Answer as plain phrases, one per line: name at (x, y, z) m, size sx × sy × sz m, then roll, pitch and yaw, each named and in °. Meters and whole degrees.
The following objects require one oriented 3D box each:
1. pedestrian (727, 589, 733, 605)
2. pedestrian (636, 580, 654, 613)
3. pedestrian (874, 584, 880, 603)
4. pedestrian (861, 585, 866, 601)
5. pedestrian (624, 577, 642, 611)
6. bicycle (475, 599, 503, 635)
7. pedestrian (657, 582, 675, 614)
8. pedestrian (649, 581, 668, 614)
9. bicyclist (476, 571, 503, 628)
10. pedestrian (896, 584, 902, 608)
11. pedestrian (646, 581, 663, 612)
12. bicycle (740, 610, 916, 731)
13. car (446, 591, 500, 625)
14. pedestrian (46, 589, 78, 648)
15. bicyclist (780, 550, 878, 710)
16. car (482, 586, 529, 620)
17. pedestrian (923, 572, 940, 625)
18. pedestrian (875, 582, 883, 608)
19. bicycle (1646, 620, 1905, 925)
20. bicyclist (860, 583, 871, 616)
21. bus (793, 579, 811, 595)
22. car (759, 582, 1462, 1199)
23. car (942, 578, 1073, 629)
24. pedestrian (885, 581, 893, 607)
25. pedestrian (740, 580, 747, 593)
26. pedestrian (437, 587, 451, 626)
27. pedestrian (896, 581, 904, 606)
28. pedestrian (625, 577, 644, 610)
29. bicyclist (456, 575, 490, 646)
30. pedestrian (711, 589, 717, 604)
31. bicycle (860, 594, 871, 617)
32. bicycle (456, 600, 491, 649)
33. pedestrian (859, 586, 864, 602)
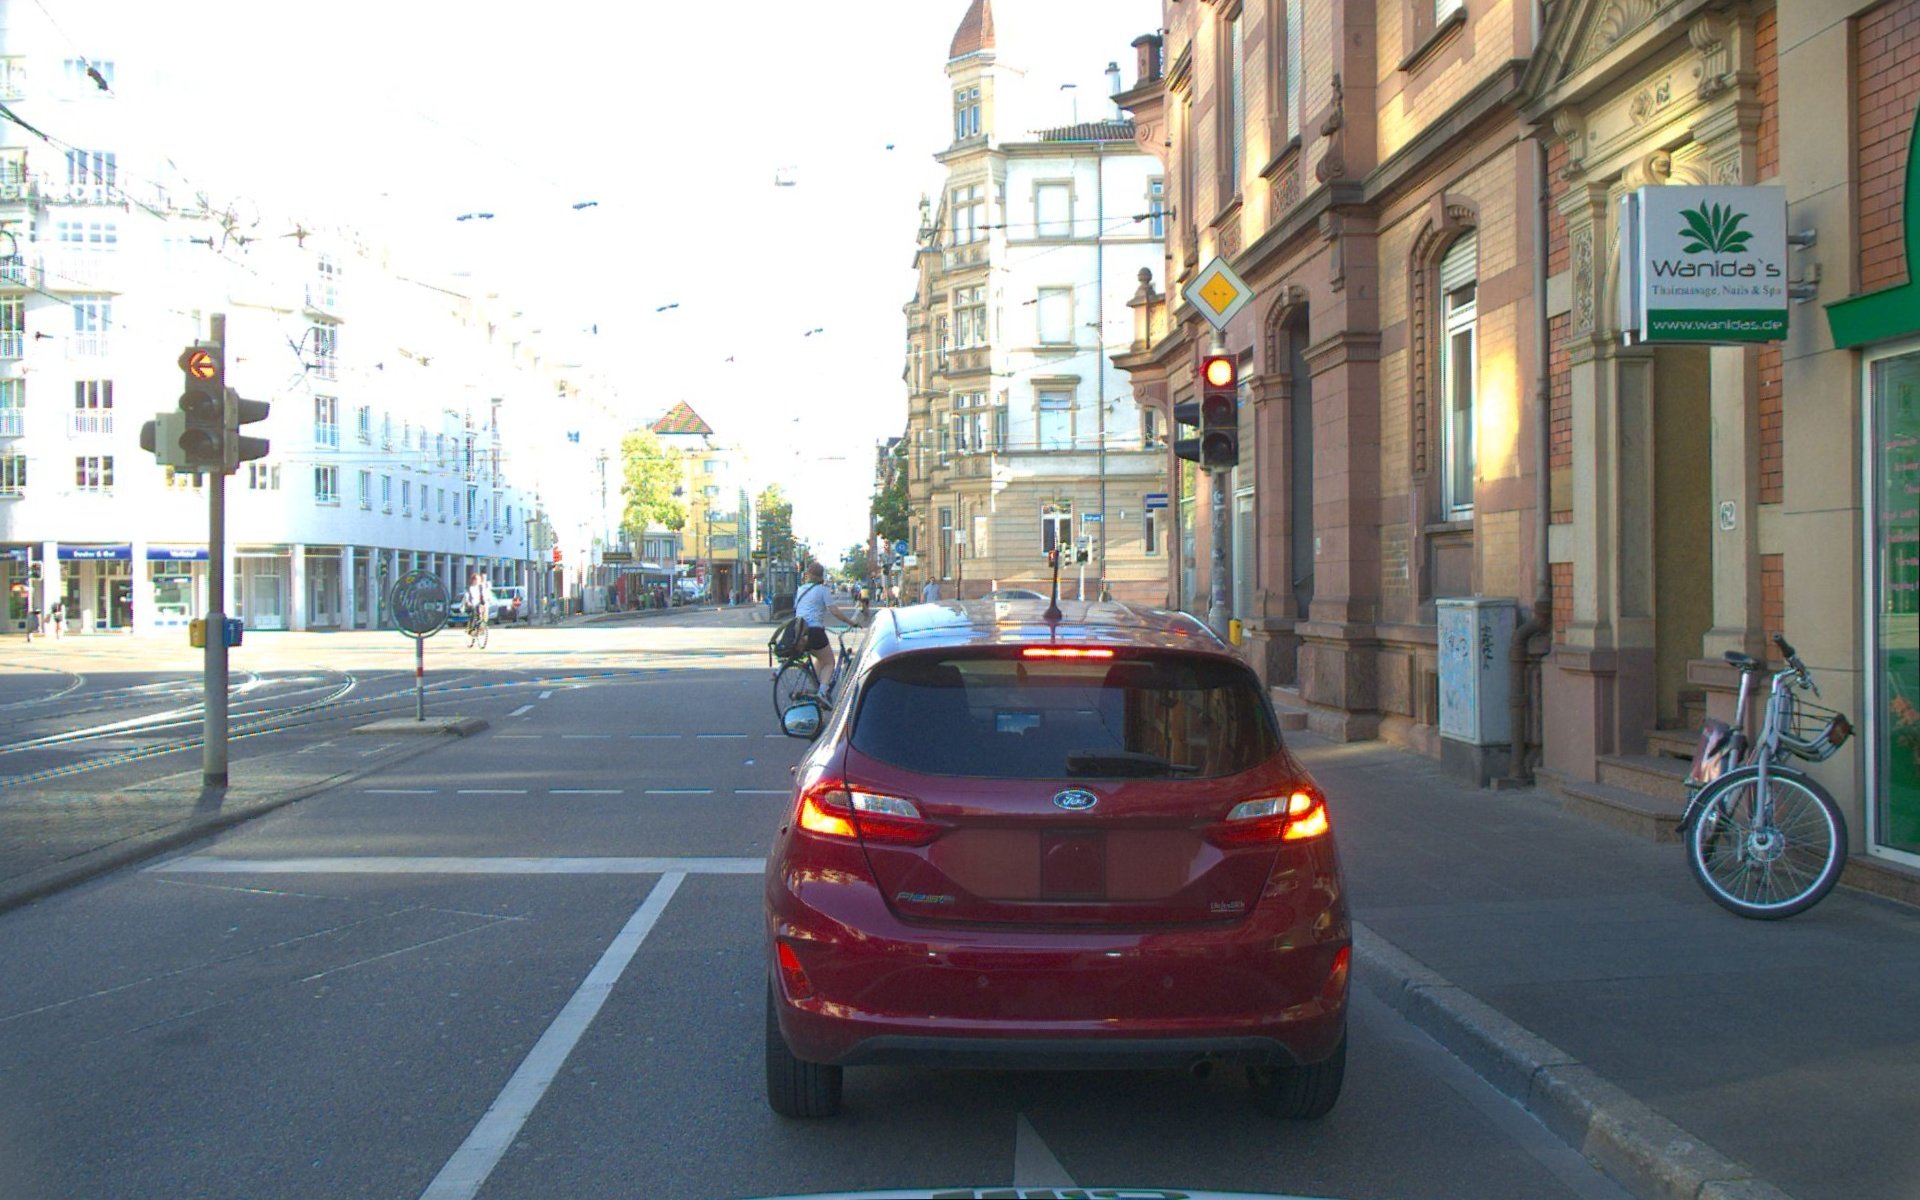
pedestrian at (-22.718, -0.306, 163.487) m, size 0.513 × 1.514 × 0.582 m, roll -1°, pitch 0°, yaw -2°
pedestrian at (-19.933, -0.206, 104.607) m, size 1.025 × 2.049 × 0.958 m, roll -1°, pitch 0°, yaw -6°
pedestrian at (-8.871, -0.711, 176.898) m, size 0.565 × 2.049 × 0.630 m, roll -1°, pitch 0°, yaw -3°
pedestrian at (-11.644, -0.796, 200.281) m, size 0.565 × 1.920 × 0.630 m, roll -1°, pitch 0°, yaw -3°
pedestrian at (-19.808, -0.378, 100.238) m, size 0.937 × 2.049 × 1.048 m, roll -1°, pitch 0°, yaw -4°
bicycle at (-15.463, 0.543, 54.294) m, size 0.795 × 1.167 × 2.000 m, roll -1°, pitch 0°, yaw -18°
pedestrian at (-18.715, -0.144, 105.323) m, size 1.025 × 2.049 × 0.958 m, roll -1°, pitch 0°, yaw -6°
pedestrian at (-18.710, -0.139, 102.728) m, size 1.025 × 2.049 × 0.958 m, roll -1°, pitch 0°, yaw -6°
bicyclist at (-15.397, -0.017, 54.094) m, size 0.795 × 1.853 × 0.988 m, roll -1°, pitch 0°, yaw -18°
pedestrian at (-4.381, -0.284, 119.180) m, size 0.405 × 1.710 × 0.484 m, roll -1°, pitch 0°, yaw -1°
pedestrian at (-19.965, -0.230, 108.061) m, size 0.937 × 2.049 × 1.047 m, roll -1°, pitch 0°, yaw -6°
bicycle at (-1.378, 0.713, 17.628) m, size 0.617 × 1.198 × 2.013 m, roll 1°, pitch 1°, yaw 41°
car at (-23.416, 0.353, 79.612) m, size 1.730 × 1.573 × 3.459 m, roll -1°, pitch 0°, yaw -3°
pedestrian at (-31.780, 0.632, 58.511) m, size 0.934 × 2.049 × 0.930 m, roll -1°, pitch 0°, yaw -31°
bicyclist at (-1.398, 0.304, 17.616) m, size 0.752 × 1.655 × 0.728 m, roll 1°, pitch 0°, yaw 42°
car at (-23.894, 0.145, 87.087) m, size 1.667 × 1.748 × 3.561 m, roll -1°, pitch 0°, yaw -4°
pedestrian at (-1.135, -0.062, 65.535) m, size 0.638 × 2.049 × 0.759 m, roll -1°, pitch 0°, yaw -4°
pedestrian at (-6.497, -0.400, 133.078) m, size 0.565 × 2.049 × 0.631 m, roll -1°, pitch 0°, yaw 2°
bicycle at (3.641, 0.715, 7.526) m, size 0.700 × 1.172 × 1.656 m, roll -2°, pitch 0°, yaw 15°
bicyclist at (-4.804, -0.027, 84.084) m, size 0.489 × 1.705 × 0.545 m, roll -1°, pitch 0°, yaw -1°
bus at (-20.702, -1.667, 216.902) m, size 1.887 × 2.049 × 7.134 m, roll -1°, pitch 0°, yaw -2°
car at (0.208, 0.702, 5.985) m, size 1.720 × 1.492 × 3.941 m, roll 1°, pitch 0°, yaw -5°
car at (1.619, 0.107, 57.511) m, size 4.359 × 1.669 × 1.701 m, roll -1°, pitch 0°, yaw -7°
pedestrian at (-5.728, -0.479, 133.227) m, size 0.565 × 2.049 × 0.631 m, roll -1°, pitch 0°, yaw 2°
pedestrian at (-25.718, -1.599, 196.346) m, size 0.619 × 1.632 × 0.575 m, roll -1°, pitch 0°, yaw -20°
pedestrian at (-22.672, 0.270, 72.642) m, size 0.514 × 1.711 × 0.485 m, roll -1°, pitch 0°, yaw -11°
pedestrian at (-4.843, -0.514, 134.506) m, size 0.565 × 2.049 × 0.631 m, roll -1°, pitch 0°, yaw 2°
pedestrian at (-20.207, -0.420, 102.585) m, size 1.025 × 2.049 × 0.958 m, roll -1°, pitch 0°, yaw -6°
bicyclist at (-12.258, 0.249, 41.655) m, size 0.795 × 1.756 × 0.790 m, roll -1°, pitch 0°, yaw -17°
pedestrian at (-24.881, -0.348, 167.187) m, size 0.569 × 1.514 × 0.525 m, roll -1°, pitch 0°, yaw -5°
bicycle at (-4.798, 0.279, 84.286) m, size 0.515 × 1.108 × 1.486 m, roll -1°, pitch 0°, yaw -1°
bicycle at (-12.249, 0.606, 41.658) m, size 0.795 × 1.167 × 2.040 m, roll -1°, pitch 0°, yaw -16°
pedestrian at (-12.171, -0.744, 203.910) m, size 0.565 × 1.920 × 0.669 m, roll -1°, pitch 0°, yaw -3°
